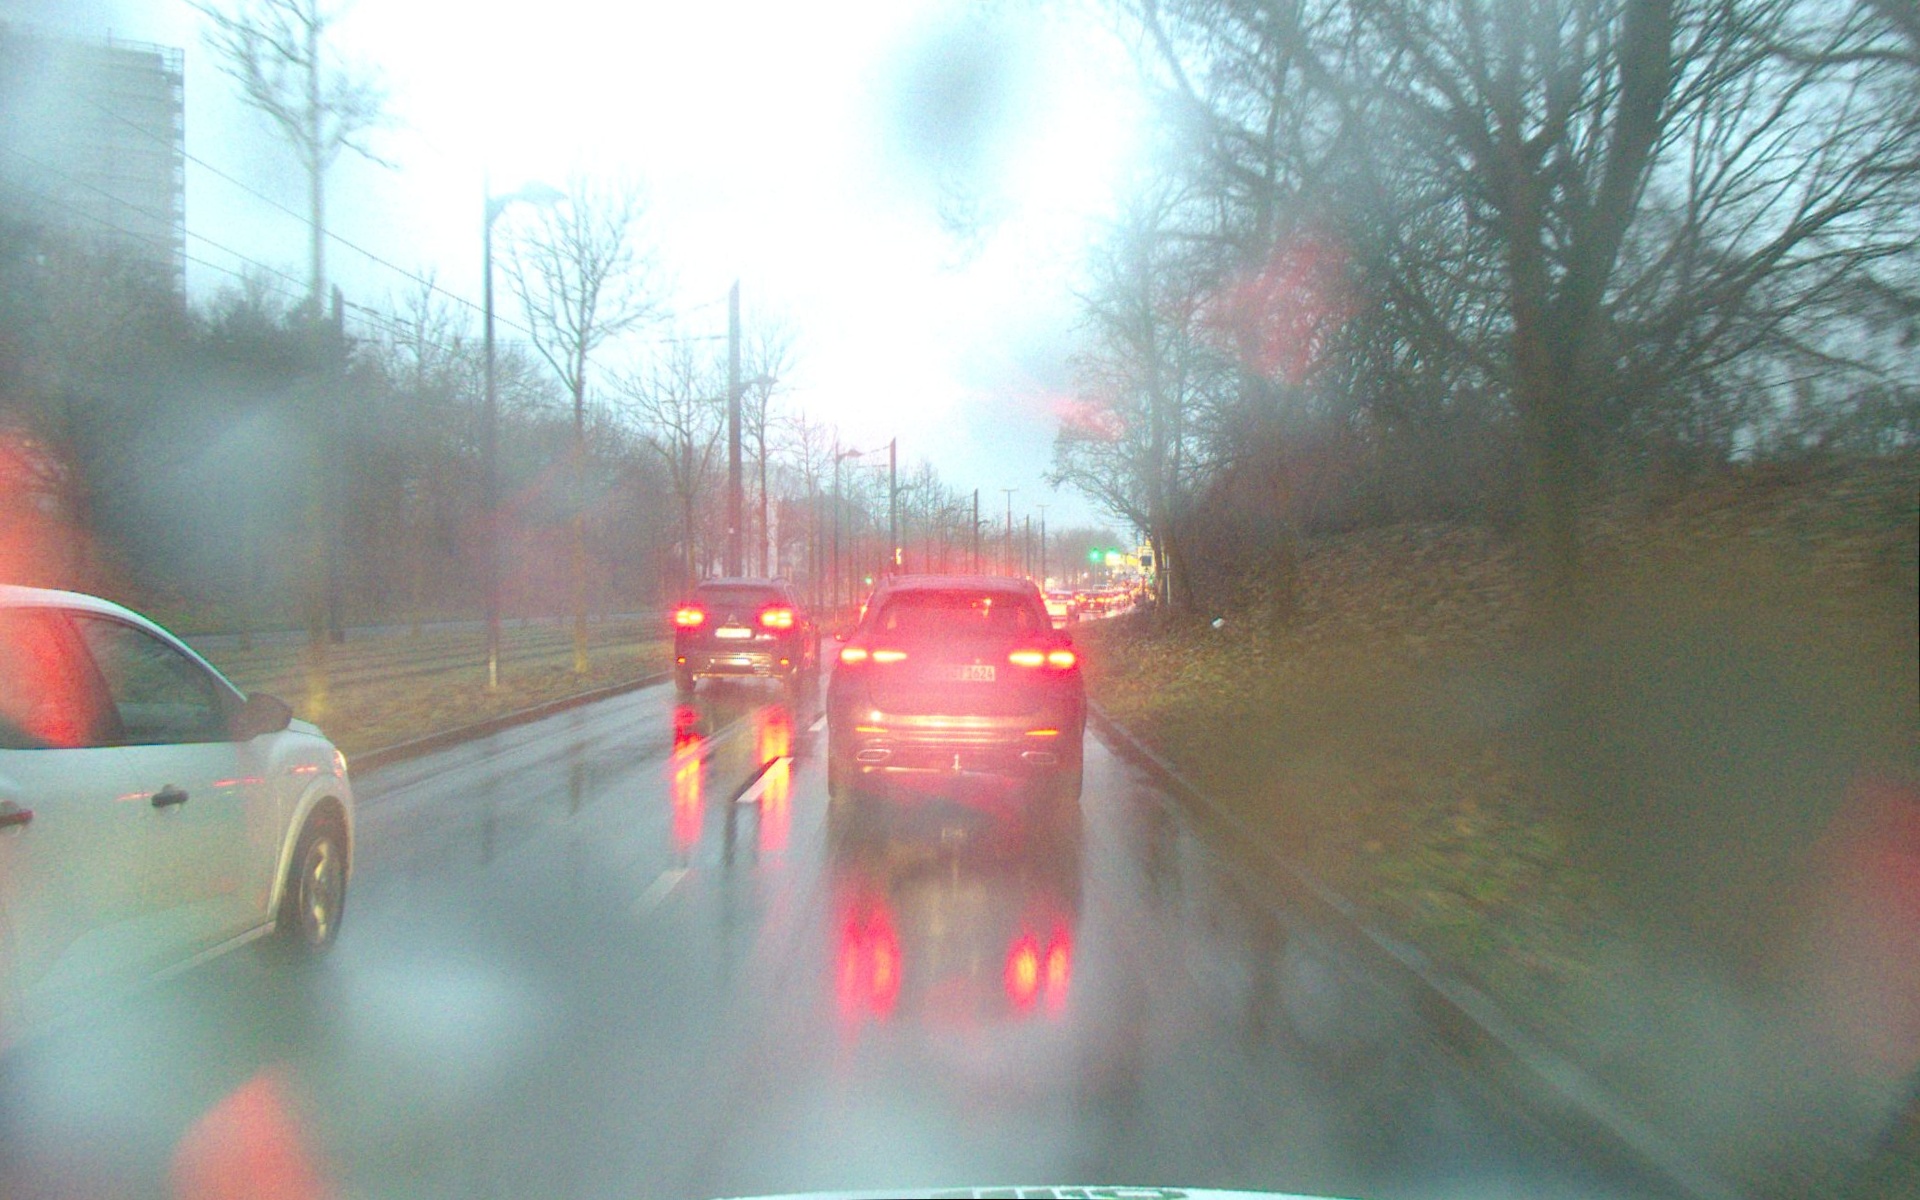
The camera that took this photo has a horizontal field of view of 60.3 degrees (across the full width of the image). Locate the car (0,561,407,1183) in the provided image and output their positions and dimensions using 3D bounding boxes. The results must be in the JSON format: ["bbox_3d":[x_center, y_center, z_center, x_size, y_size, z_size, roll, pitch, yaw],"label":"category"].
[{"bbox_3d":[-3.224,0.673,5.022,1.673,1.551,4.135,0,0,0],"label":"car"}]

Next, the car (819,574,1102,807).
[{"bbox_3d":[-0.064,0.606,13.491,1.958,1.612,3.999,0,1,-2],"label":"car"}]

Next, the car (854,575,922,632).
[{"bbox_3d":[-2.120,0.068,49.668,1.841,1.621,4.000,0,1,0],"label":"car"}]

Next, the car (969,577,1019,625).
[{"bbox_3d":[1.150,0.029,57.093,1.673,1.585,3.996,0,0,0],"label":"car"}]

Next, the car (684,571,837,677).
[{"bbox_3d":[-2.961,0.304,25.328,1.841,1.485,4.000,0,1,0],"label":"car"}]
